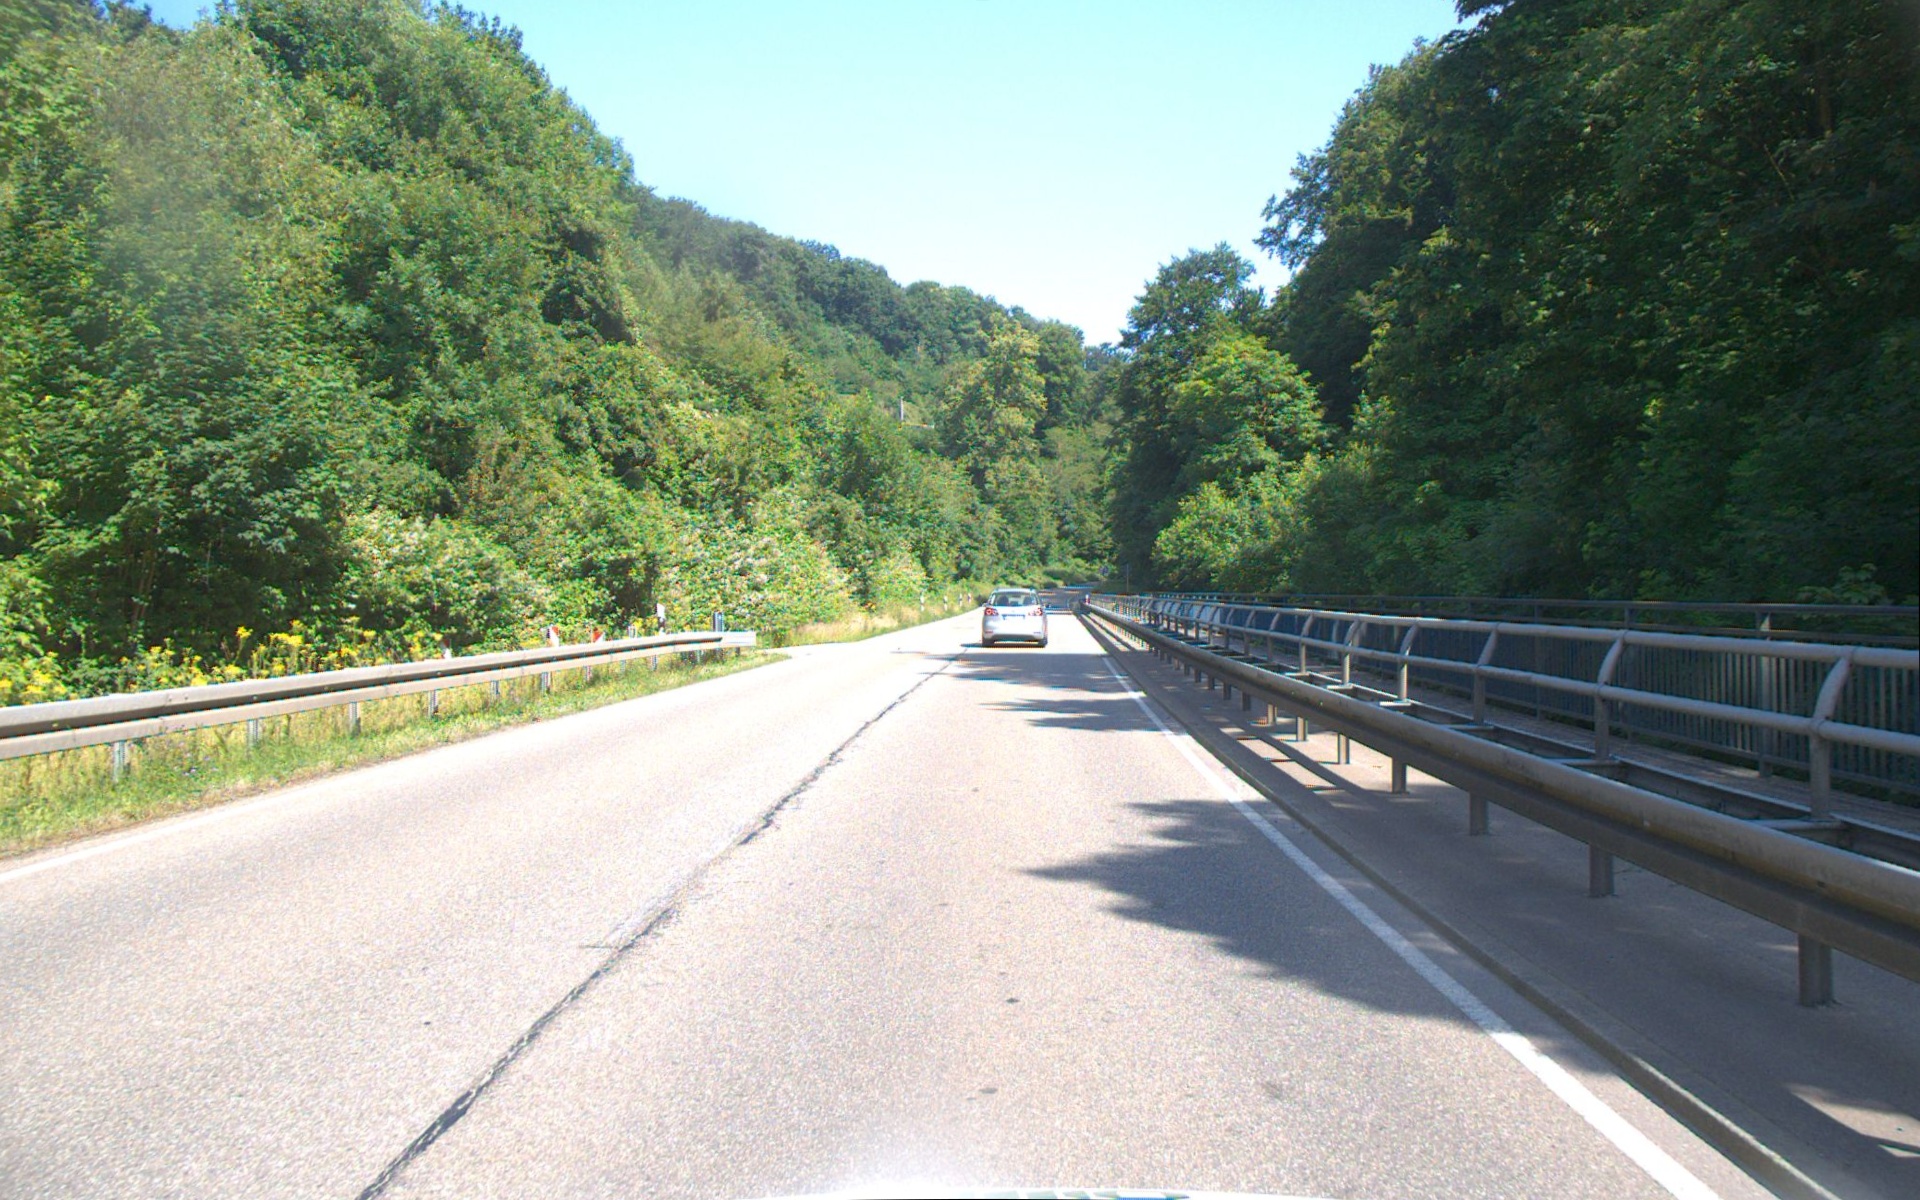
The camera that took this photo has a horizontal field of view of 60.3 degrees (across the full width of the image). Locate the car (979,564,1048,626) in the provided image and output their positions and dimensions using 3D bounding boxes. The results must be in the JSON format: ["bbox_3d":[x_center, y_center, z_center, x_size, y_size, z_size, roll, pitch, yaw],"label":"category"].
[{"bbox_3d":[1.505,-0.169,45.189,1.714,1.546,4.162,1,2,4],"label":"car"}]
